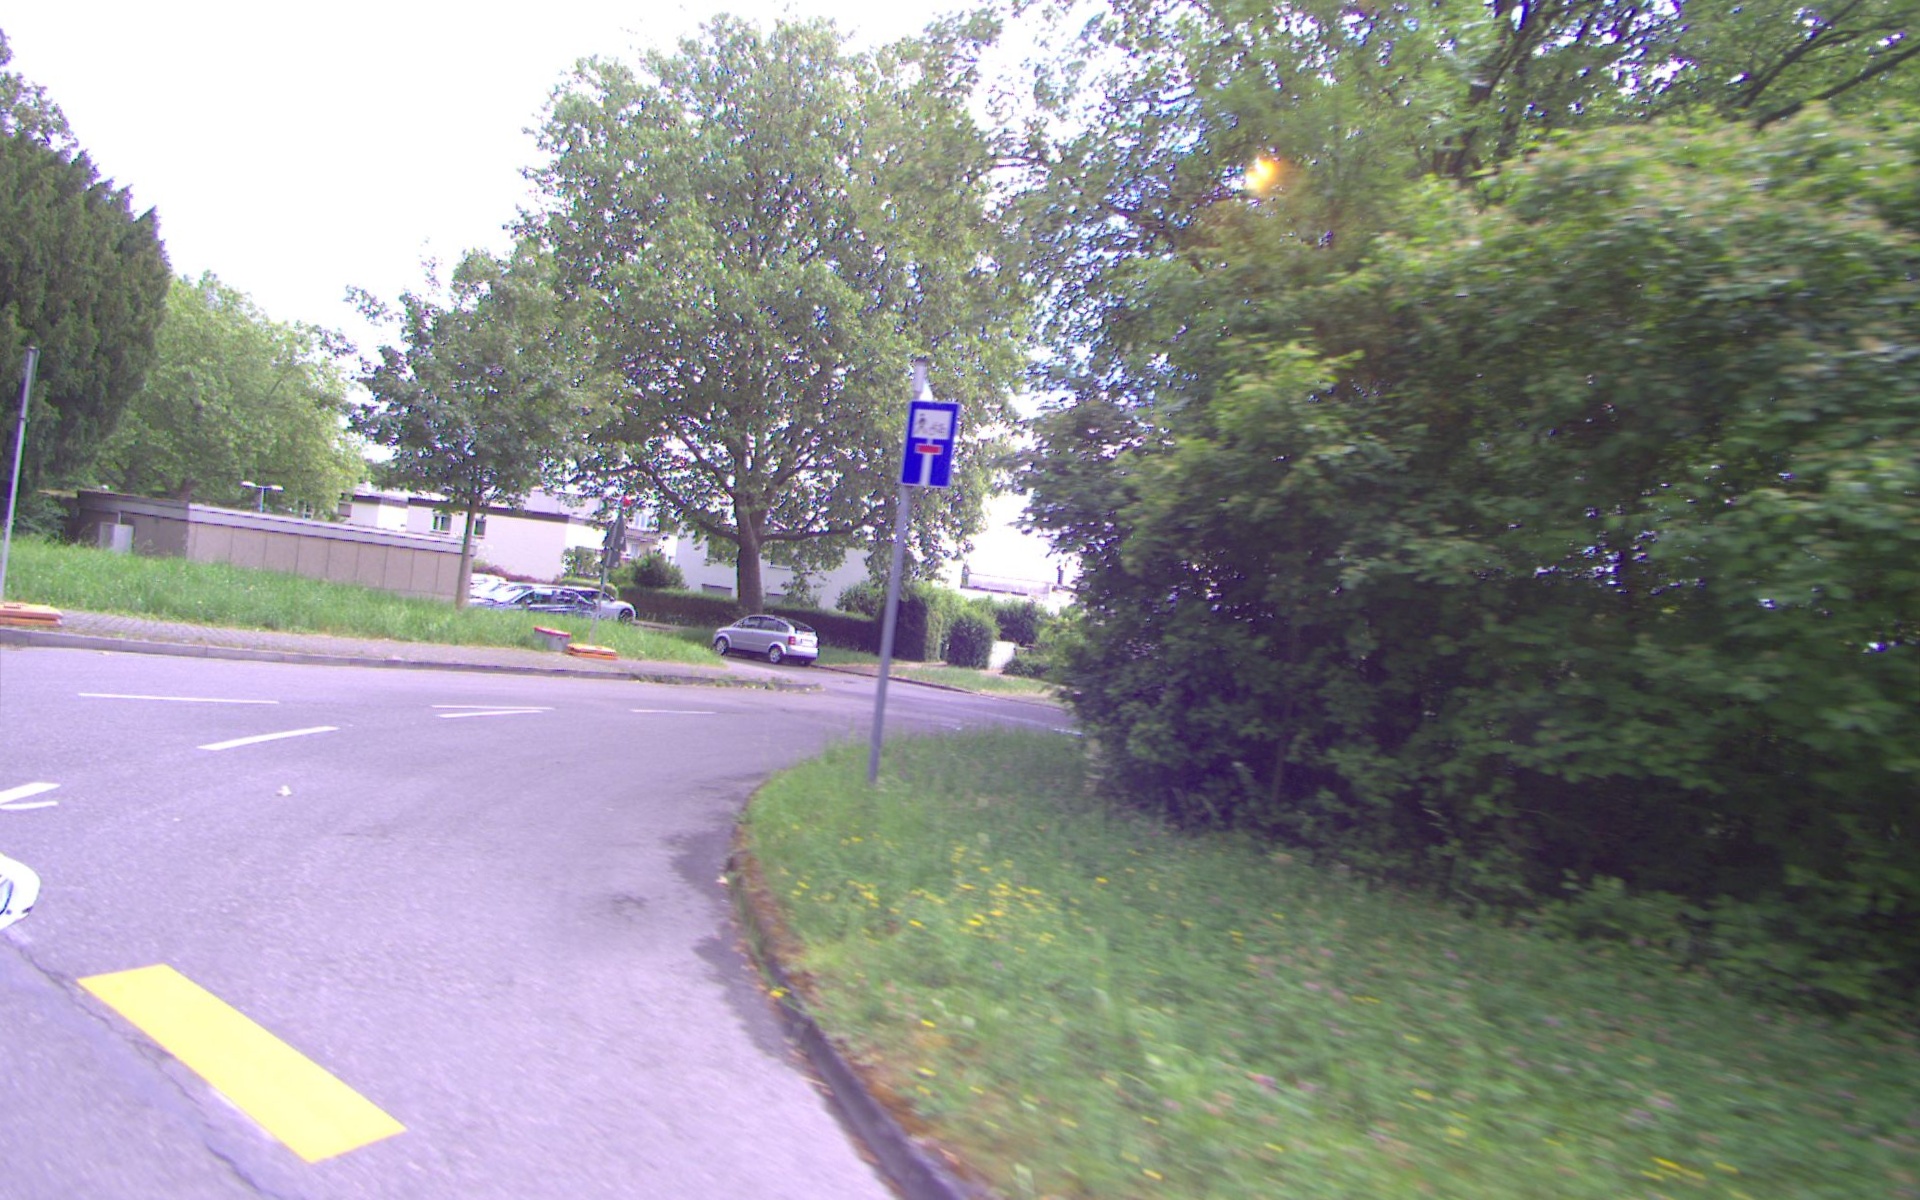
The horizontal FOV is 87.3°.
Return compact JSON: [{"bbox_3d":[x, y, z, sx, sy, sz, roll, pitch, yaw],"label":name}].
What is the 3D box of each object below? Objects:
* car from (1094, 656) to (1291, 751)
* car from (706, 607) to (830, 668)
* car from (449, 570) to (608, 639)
[{"bbox_3d":[5.892,2.579,25.665,4.371,1.638,1.895,8,0,32],"label":"car"},{"bbox_3d":[-6.456,1.258,33.726,3.685,1.487,1.848,8,0,32],"label":"car"},{"bbox_3d":[-11.806,0.165,27.723,1.780,1.330,3.569,8,-2,30],"label":"car"}]
